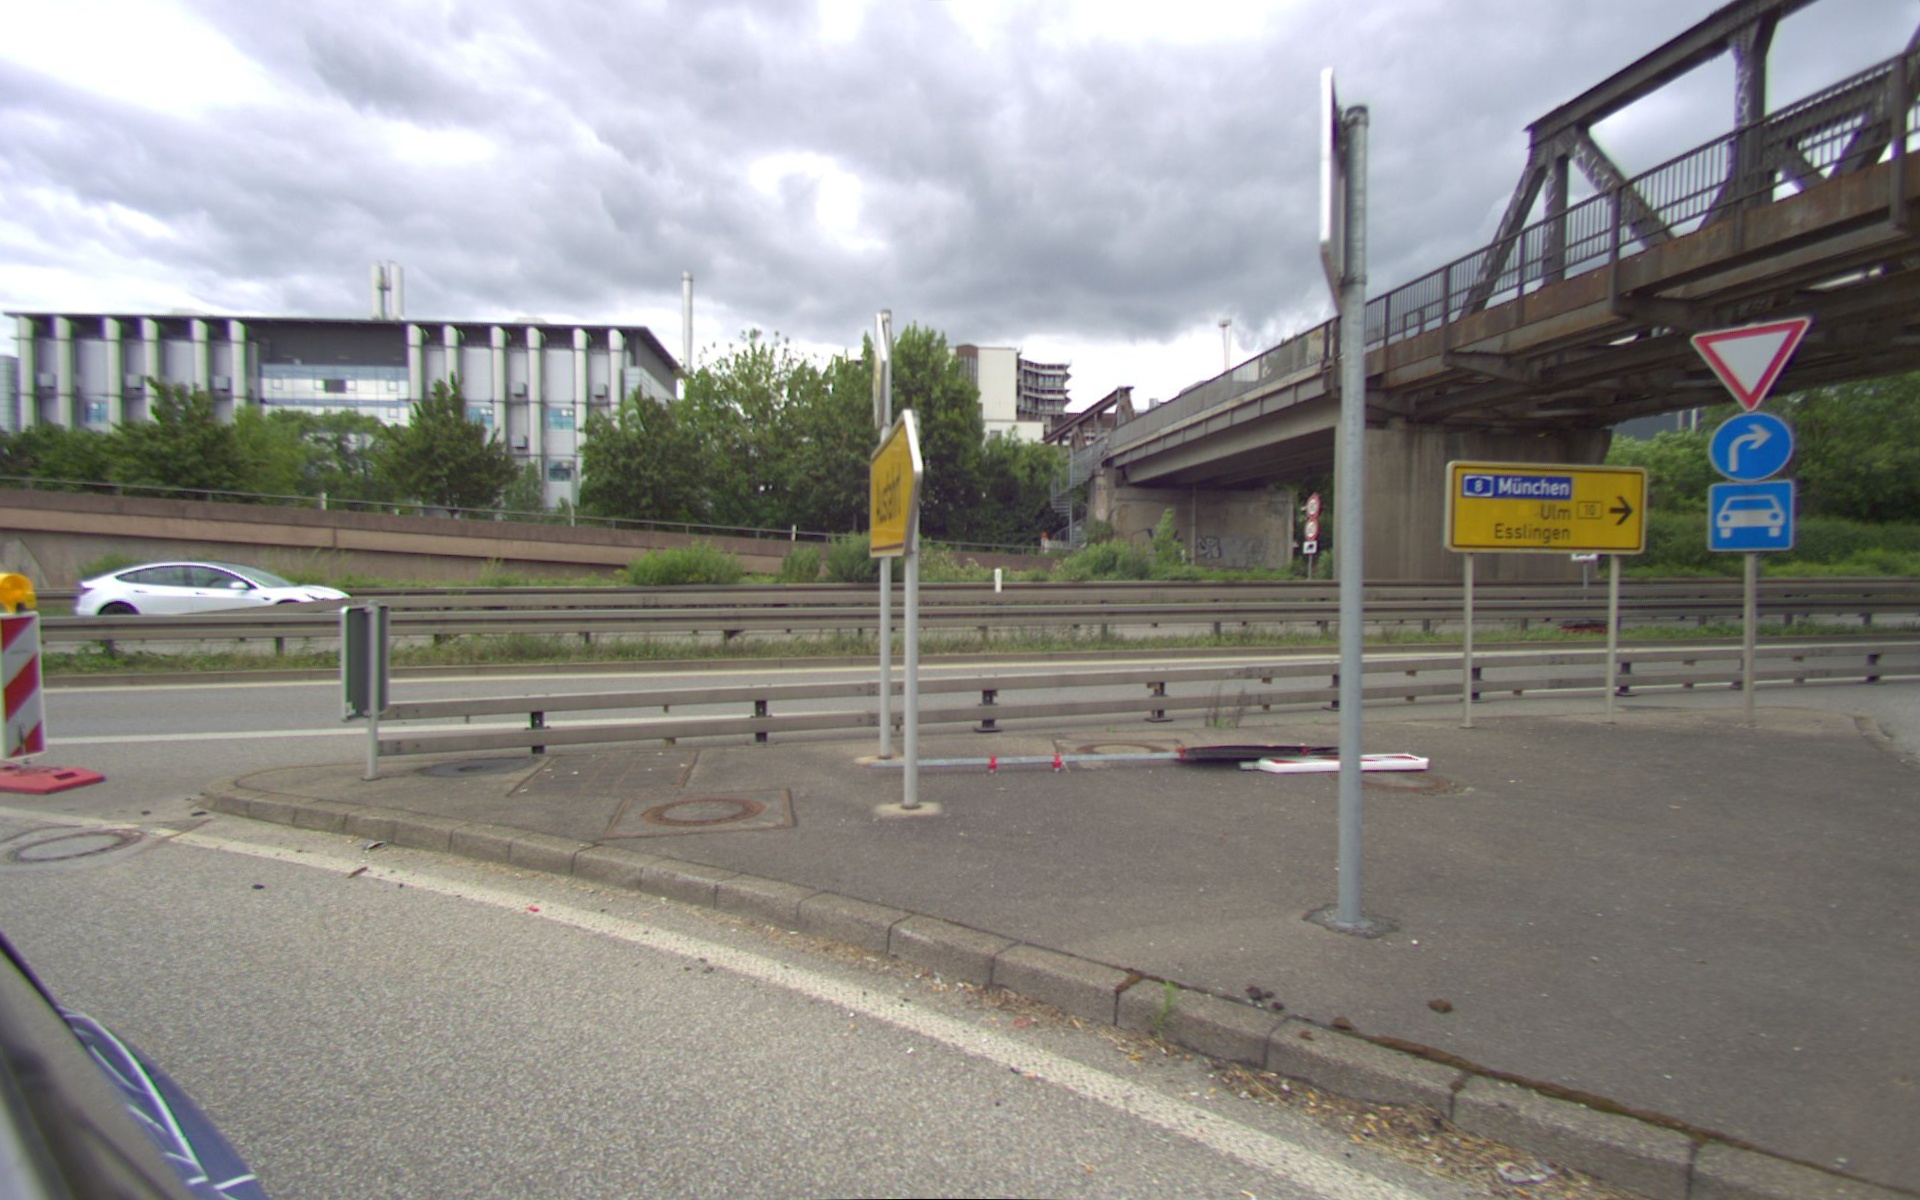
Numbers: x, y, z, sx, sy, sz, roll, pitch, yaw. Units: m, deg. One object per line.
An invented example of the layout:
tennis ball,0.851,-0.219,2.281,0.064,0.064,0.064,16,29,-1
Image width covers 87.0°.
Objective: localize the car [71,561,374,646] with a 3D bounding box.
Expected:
car,-14.340,0.020,19.973,4.385,1.553,2.005,0,1,-13
